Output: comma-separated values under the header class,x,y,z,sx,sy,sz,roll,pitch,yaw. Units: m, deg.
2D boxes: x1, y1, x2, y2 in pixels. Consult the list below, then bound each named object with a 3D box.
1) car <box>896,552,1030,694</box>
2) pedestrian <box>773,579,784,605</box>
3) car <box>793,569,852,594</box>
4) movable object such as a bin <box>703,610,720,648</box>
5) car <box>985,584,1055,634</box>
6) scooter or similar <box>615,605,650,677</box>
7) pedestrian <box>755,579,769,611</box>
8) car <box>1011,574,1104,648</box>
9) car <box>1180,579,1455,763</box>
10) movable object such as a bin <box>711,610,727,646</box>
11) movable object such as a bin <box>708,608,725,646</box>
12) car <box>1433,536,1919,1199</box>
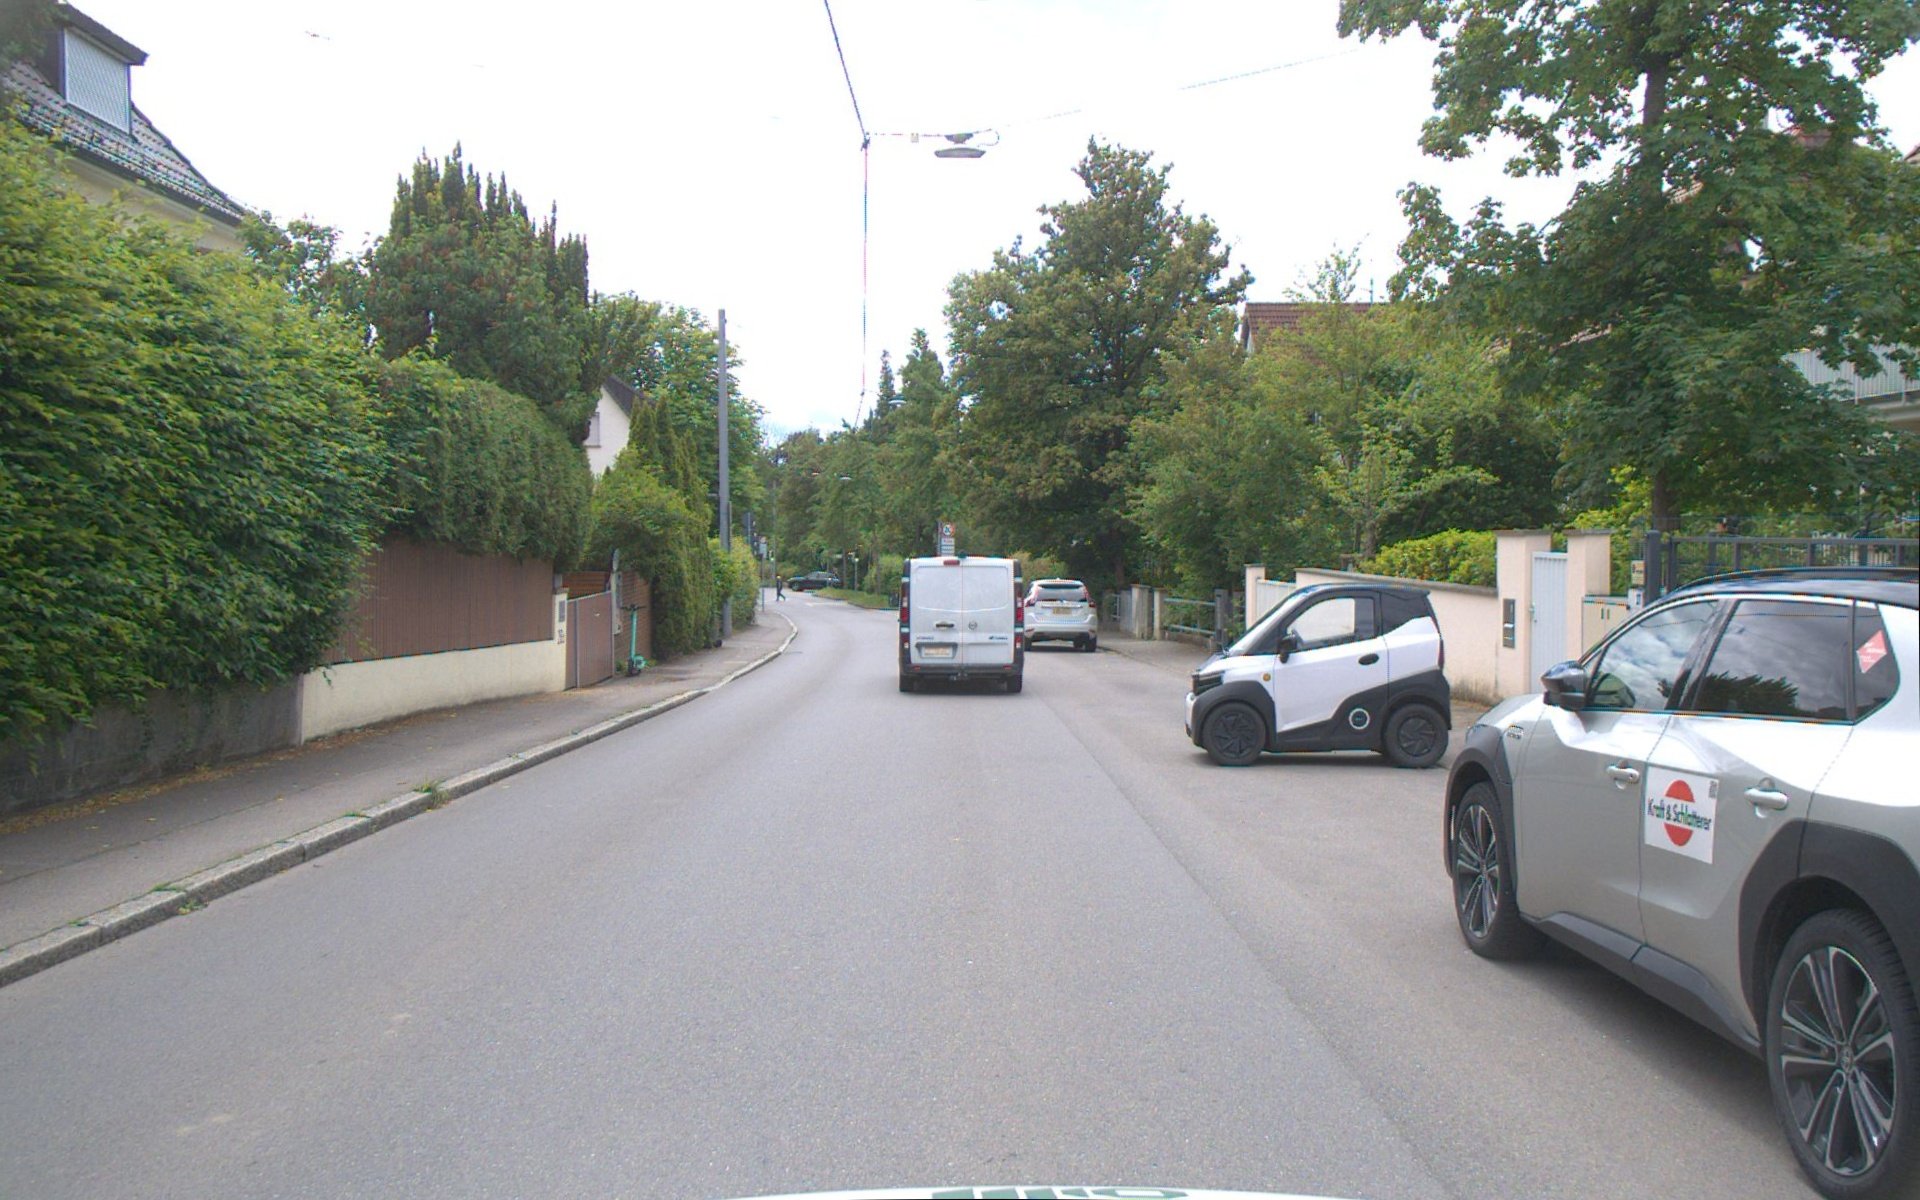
class,x,y,z,sx,sy,sz,roll,pitch,yaw
car,-0.028,0.272,25.552,1.891,1.998,4.400,0,1,-2
pedestrian,-11.556,-0.528,105.267,0.684,1.644,0.714,0,2,-7
car,-10.883,-1.471,131.151,4.299,1.892,1.903,1,1,20
movable object such as a bin,-6.095,0.718,40.563,0.329,0.909,0.476,1,0,0
car,1.845,0.261,51.991,1.676,1.513,3.786,0,0,-6
scooter or similar,-5.619,0.697,28.431,0.383,1.191,1.270,0,0,-2
pedestrian,-10.173,-0.266,84.990,0.692,1.638,0.576,-1,0,-2
car,2.352,0.244,40.776,1.828,1.714,4.348,0,0,-3
car,3.143,0.604,14.812,2.239,1.550,1.319,-1,1,4
movable object such as a bin,-6.084,0.704,41.760,0.329,0.909,0.476,1,0,0
movable object such as a bin,-6.058,0.673,41.177,0.329,0.909,0.476,1,0,0
car,3.121,0.670,5.479,1.792,1.652,4.492,0,0,0
